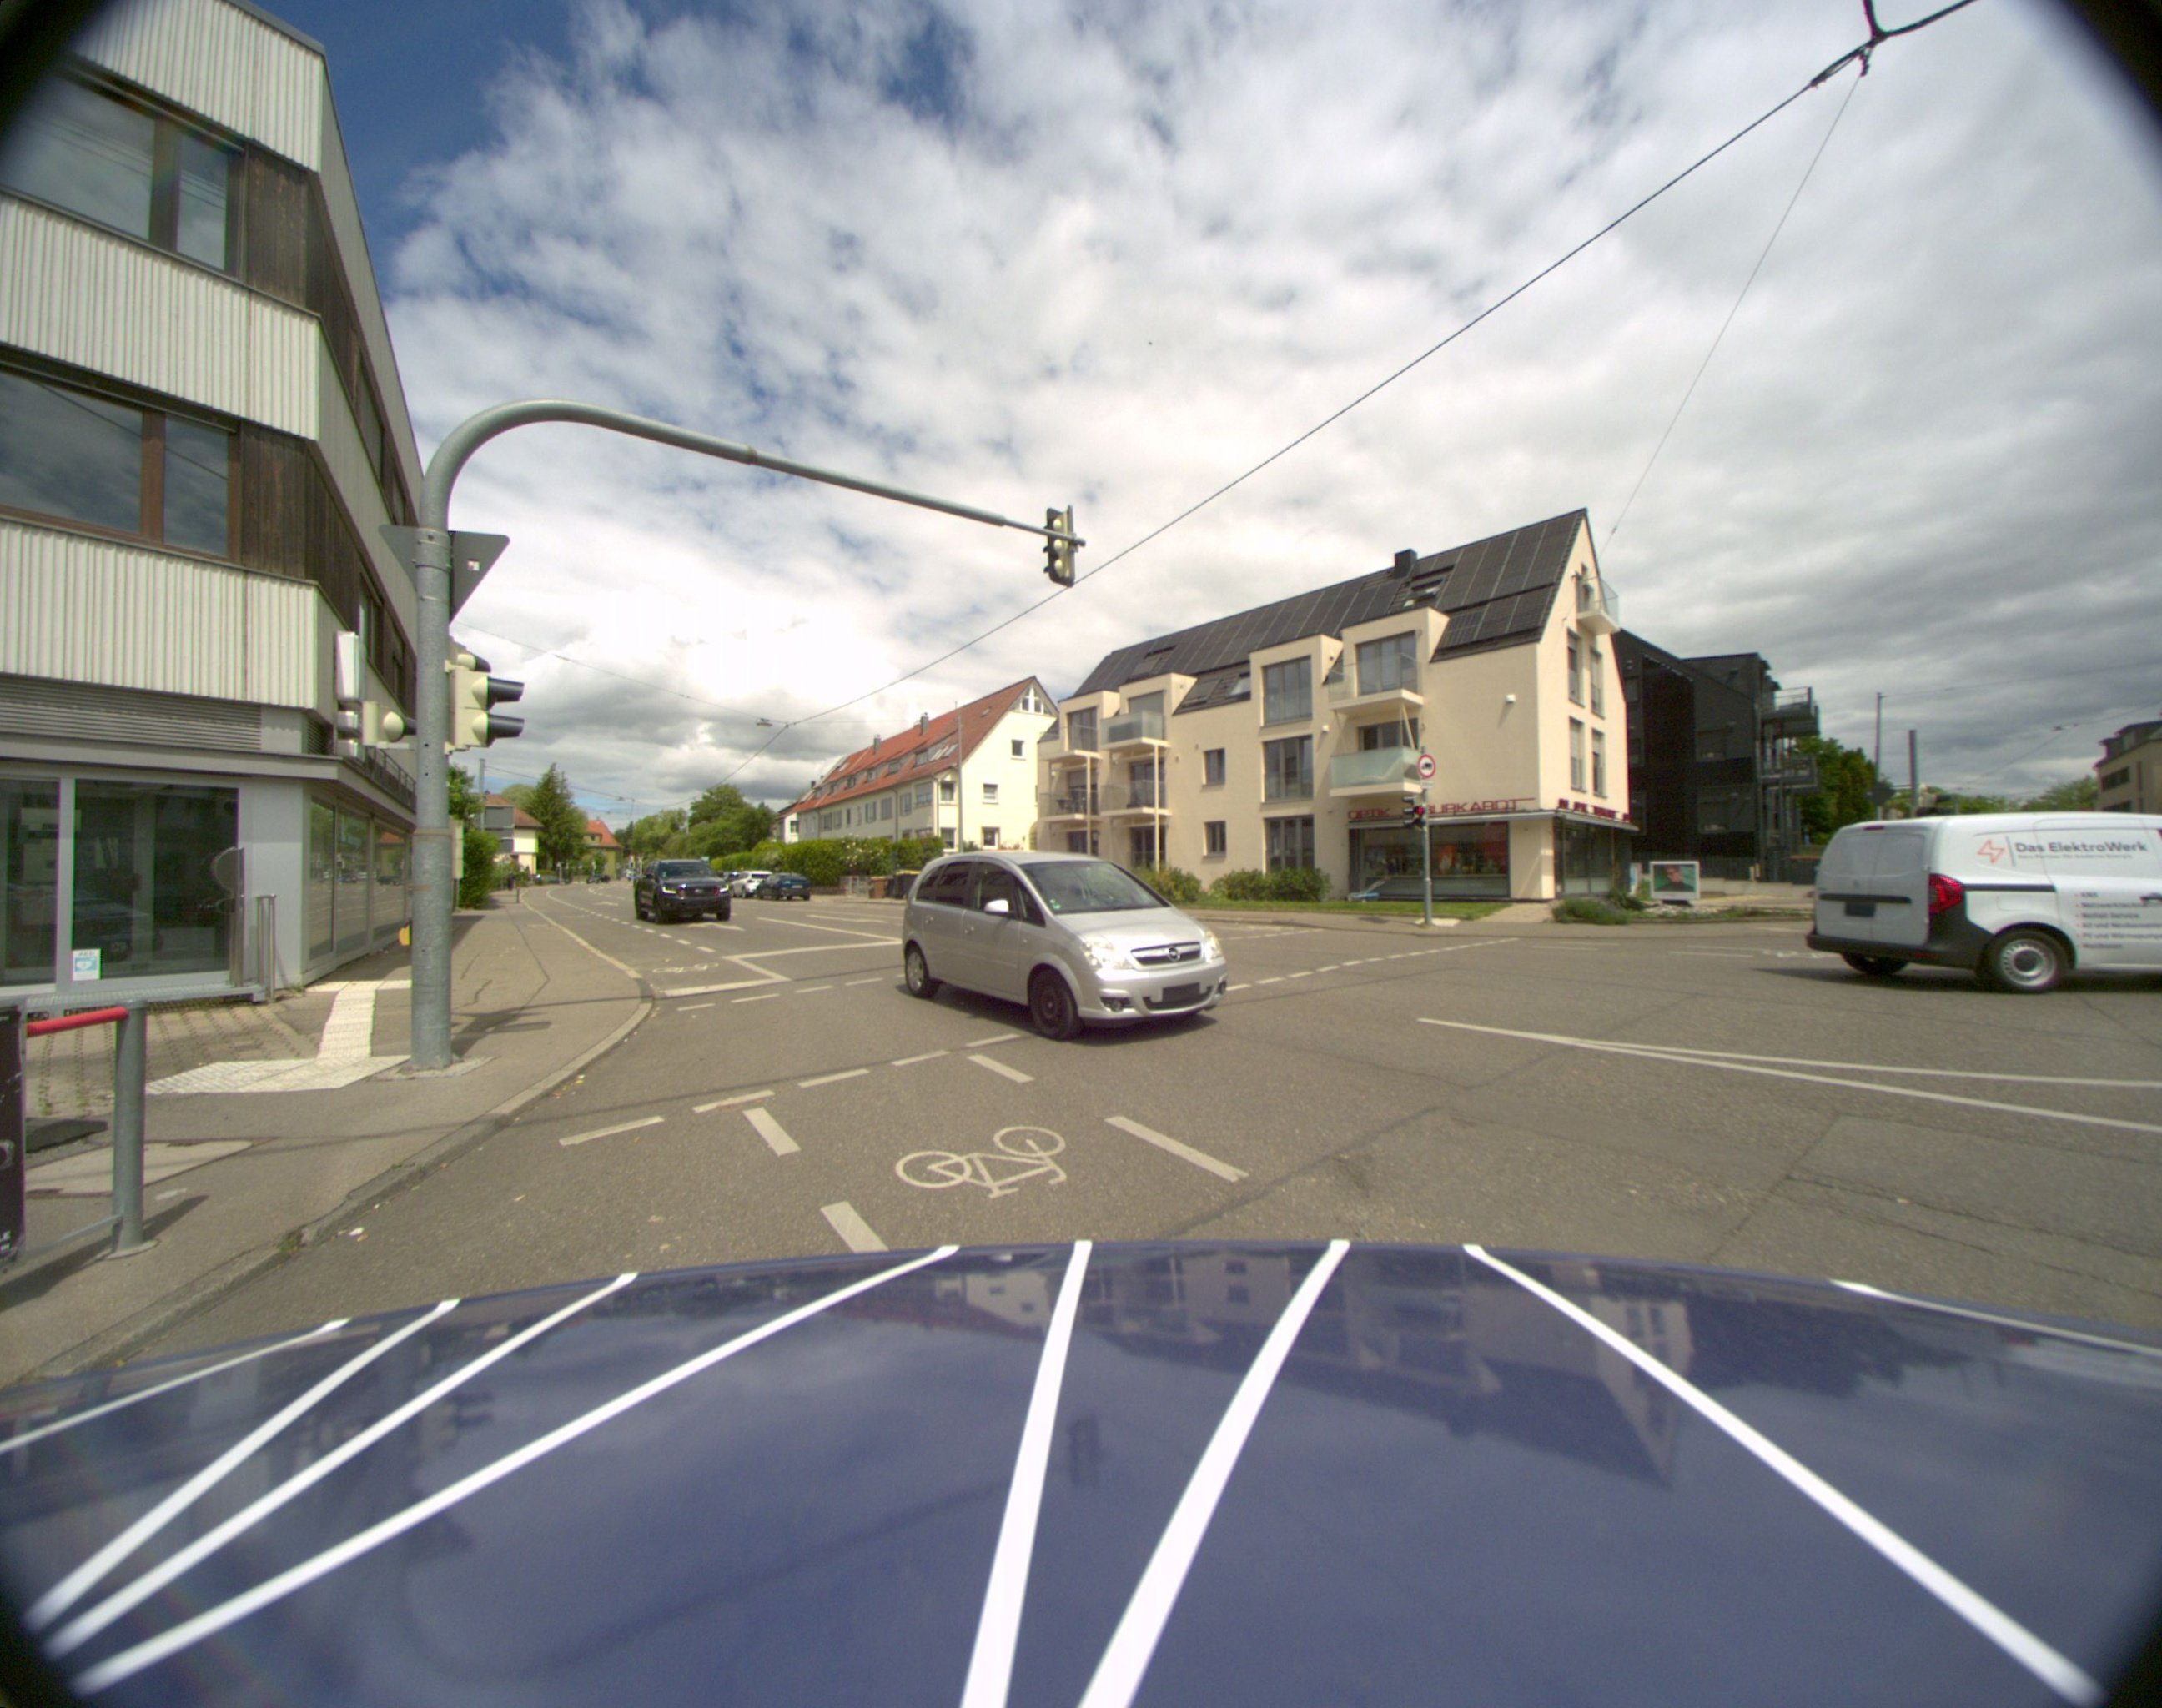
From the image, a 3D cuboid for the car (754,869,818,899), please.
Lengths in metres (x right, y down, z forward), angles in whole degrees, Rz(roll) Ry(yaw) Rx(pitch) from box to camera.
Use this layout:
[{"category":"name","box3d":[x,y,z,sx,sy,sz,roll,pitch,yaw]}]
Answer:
[{"category":"car","box3d":[-15.885,1.580,40.777,1.823,1.492,4.441,-1,0,-41]}]

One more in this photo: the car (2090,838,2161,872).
[{"category":"car","box3d":[63.627,0.057,46.297,1.994,2.002,4.008,-1,0,44]}]

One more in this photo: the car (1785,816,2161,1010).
[{"category":"car","box3d":[10.541,0.552,7.872,4.411,1.801,1.824,-2,-1,12]}]

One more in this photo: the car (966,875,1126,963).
[{"category":"car","box3d":[-0.831,1.108,14.469,1.818,1.355,4.037,-1,-1,-22]}]

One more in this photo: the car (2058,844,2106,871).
[{"category":"car","box3d":[77.944,0.246,59.209,4.008,2.002,1.994,-1,0,-41]}]

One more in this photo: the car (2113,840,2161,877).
[{"category":"car","box3d":[60.022,0.254,42.544,1.994,2.002,4.008,-1,0,44]}]

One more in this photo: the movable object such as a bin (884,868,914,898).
[{"category":"movable object such as a bin","box3d":[-8.885,1.395,37.079,1.095,1.438,0.978,-1,0,-38]}]

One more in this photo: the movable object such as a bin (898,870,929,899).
[{"category":"movable object such as a bin","box3d":[-7.929,1.434,35.937,1.095,1.354,0.978,-1,0,-38]}]

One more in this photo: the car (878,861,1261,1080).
[{"category":"car","box3d":[-0.376,0.889,7.641,1.779,1.566,3.991,-1,-1,-38]}]

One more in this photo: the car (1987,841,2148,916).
[{"category":"car","box3d":[24.459,0.535,19.014,4.008,1.674,1.994,-1,0,-44]}]

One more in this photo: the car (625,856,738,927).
[{"category":"car","box3d":[-11.898,1.039,22.449,1.892,1.838,5.206,-1,-1,-40]}]

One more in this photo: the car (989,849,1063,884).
[{"category":"car","box3d":[-3.327,0.750,46.140,4.008,2.002,1.995,-1,0,-38]}]

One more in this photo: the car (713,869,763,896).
[{"category":"car","box3d":[-22.186,1.811,49.052,2.004,1.623,4.225,-1,-1,-38]}]

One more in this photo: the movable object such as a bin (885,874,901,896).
[{"category":"movable object such as a bin","box3d":[-9.363,1.546,37.890,0.522,1.059,0.657,-1,0,13]}]

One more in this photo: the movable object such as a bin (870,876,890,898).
[{"category":"movable object such as a bin","box3d":[-9.958,1.640,37.624,0.765,1.059,0.691,-1,0,-31]}]

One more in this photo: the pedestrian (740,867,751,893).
[{"category":"pedestrian","box3d":[-23.680,1.859,53.649,0.534,1.805,0.510,-1,0,-42]}]

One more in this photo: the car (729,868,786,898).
[{"category":"car","box3d":[-19.158,1.664,44.863,2.004,1.623,4.441,-1,-1,-38]}]

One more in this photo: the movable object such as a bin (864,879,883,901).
[{"category":"movable object such as a bin","box3d":[-10.422,1.782,38.198,0.765,1.059,0.691,-1,0,-31]}]
